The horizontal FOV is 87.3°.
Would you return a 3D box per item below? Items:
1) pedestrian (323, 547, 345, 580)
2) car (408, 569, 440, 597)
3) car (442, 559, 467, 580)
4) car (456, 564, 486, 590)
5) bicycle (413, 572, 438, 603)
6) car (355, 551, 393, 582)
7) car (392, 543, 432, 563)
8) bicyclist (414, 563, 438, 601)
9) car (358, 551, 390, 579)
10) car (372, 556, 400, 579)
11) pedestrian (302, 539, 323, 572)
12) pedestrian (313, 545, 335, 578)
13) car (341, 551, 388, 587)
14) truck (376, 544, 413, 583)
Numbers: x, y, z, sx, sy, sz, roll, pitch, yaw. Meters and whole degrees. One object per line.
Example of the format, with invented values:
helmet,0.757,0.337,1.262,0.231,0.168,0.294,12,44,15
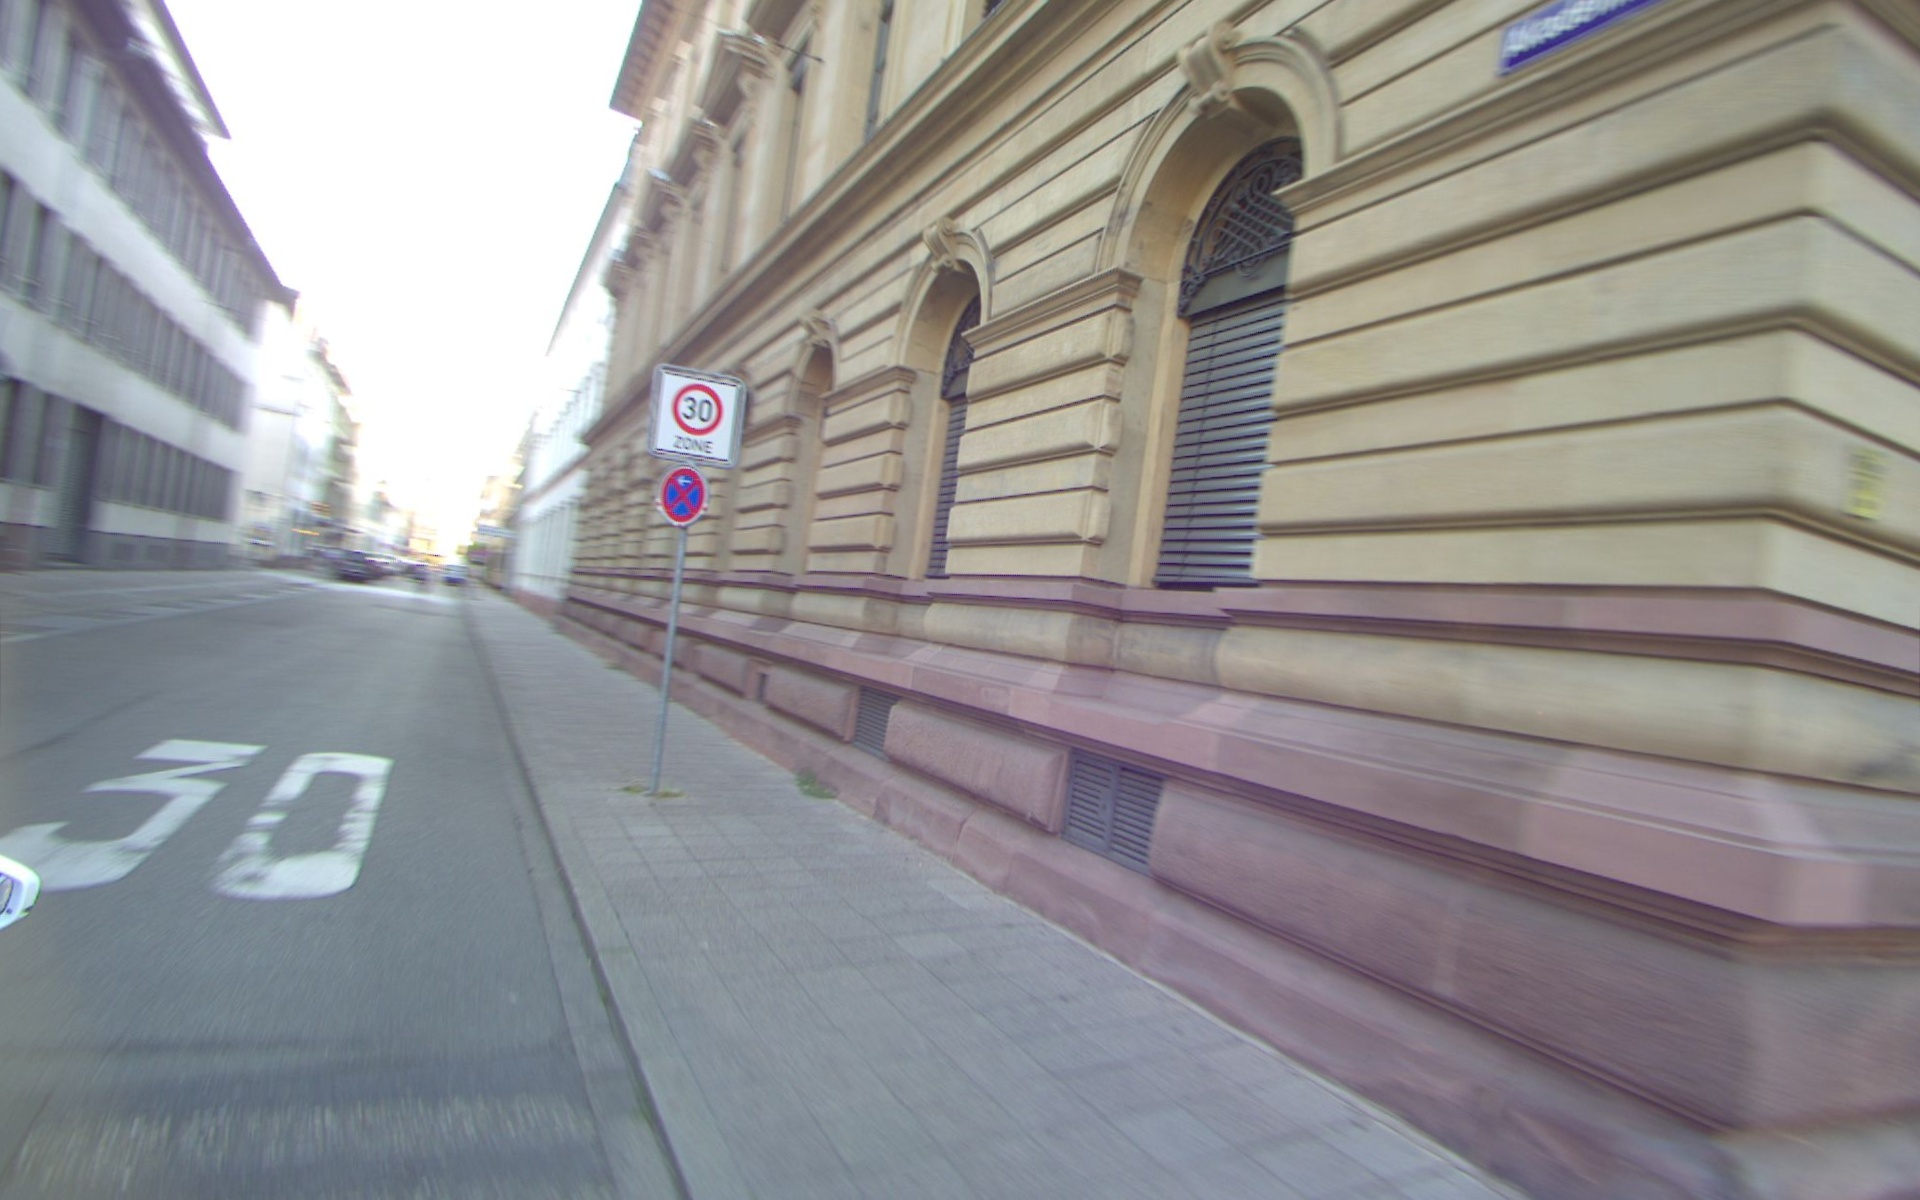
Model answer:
pedestrian,-38.877,-2.282,62.501,0.723,1.934,0.757,7,-1,-8
car,-43.419,-1.389,81.527,1.979,1.926,3.970,8,-2,-30
car,-54.372,-3.269,108.125,1.979,1.908,4.141,8,-2,-30
car,-44.409,-2.130,91.239,1.979,2.015,3.970,8,-2,-30
bicycle,-24.553,-0.598,46.226,0.787,1.292,2.562,8,-2,-26
car,-40.338,-2.315,69.261,1.980,1.837,3.969,8,-2,-31
car,-66.972,-5.687,122.886,3.963,1.790,1.998,10,-3,-33
bicyclist,-24.566,-0.831,46.294,0.782,1.601,1.006,8,-1,-26
car,-46.048,-2.759,79.119,1.979,1.837,3.970,8,-2,-30
car,-54.296,-3.057,95.218,1.978,1.837,3.972,8,-2,-28
pedestrian,-38.771,-2.655,60.215,0.753,1.851,0.726,8,-1,-45
pedestrian,-39.710,-2.372,62.842,0.723,1.934,0.757,7,-1,-8
car,-34.928,-1.815,59.108,1.978,1.748,3.973,8,-2,-28
truck,-59.500,-3.869,105.743,2.753,3.544,9.540,9,-3,-31
